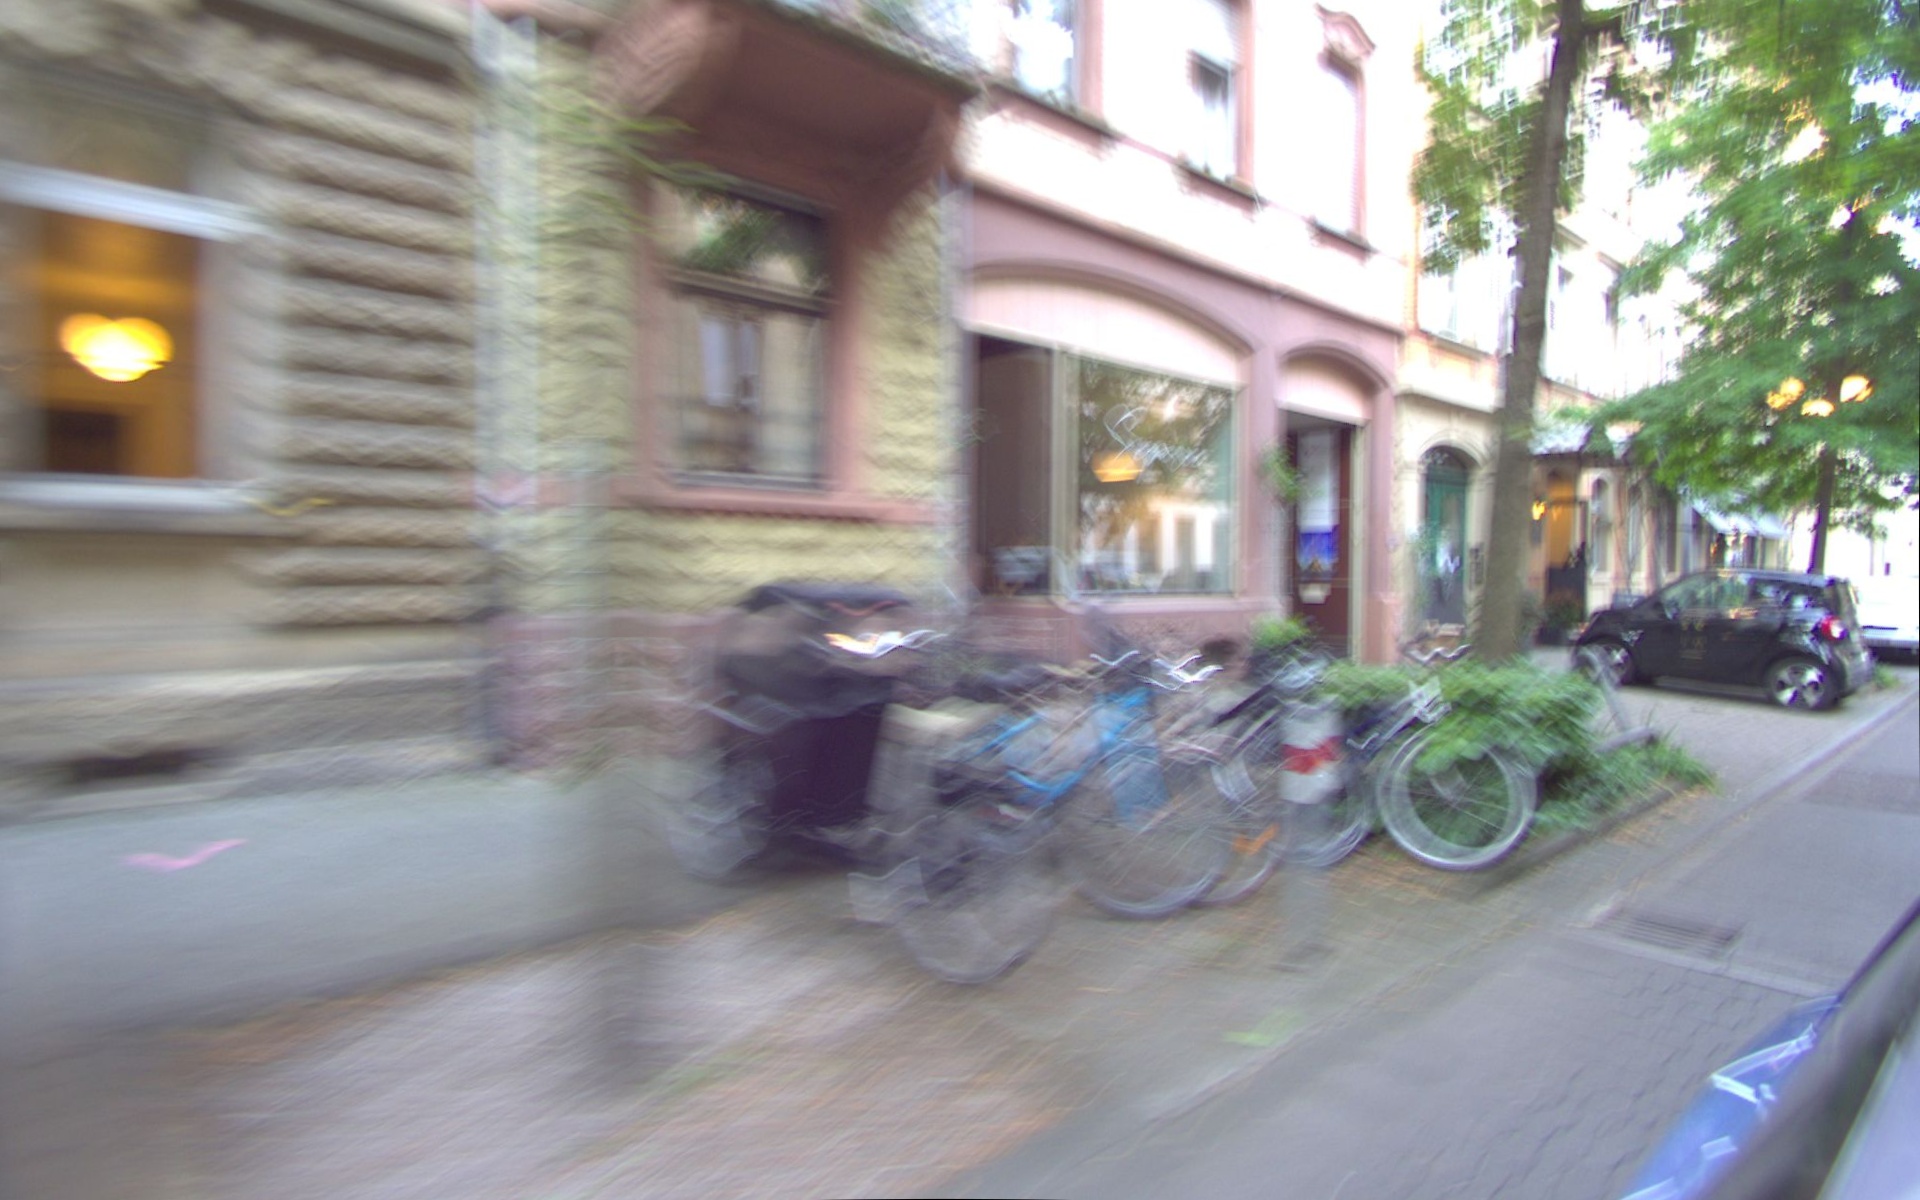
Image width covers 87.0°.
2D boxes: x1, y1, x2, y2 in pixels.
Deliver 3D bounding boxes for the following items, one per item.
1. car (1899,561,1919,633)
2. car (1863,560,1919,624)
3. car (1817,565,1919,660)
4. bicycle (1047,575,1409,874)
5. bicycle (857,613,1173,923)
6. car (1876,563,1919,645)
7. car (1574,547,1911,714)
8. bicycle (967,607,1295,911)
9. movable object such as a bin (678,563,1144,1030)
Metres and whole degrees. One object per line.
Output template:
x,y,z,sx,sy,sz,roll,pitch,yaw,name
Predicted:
22.286,-0.075,22.832,2.870,1.571,1.466,-2,3,-44,car
25.063,-0.194,25.891,1.499,1.592,2.721,-1,4,-40,car
16.576,0.154,17.774,4.033,1.509,1.736,-1,2,-41,car
1.405,0.557,5.607,0.788,1.309,1.765,-1,4,-41,bicycle
0.187,0.679,4.855,0.572,1.158,1.663,-1,2,-37,bicycle
19.860,0.047,20.547,3.070,1.580,1.593,-2,2,-43,car
9.278,0.242,12.118,1.769,1.618,2.805,-1,5,-40,car
0.779,0.676,5.106,0.572,1.213,1.701,-1,2,-37,bicycle
-0.360,0.565,4.175,0.756,1.320,2.223,-1,5,-38,movable object such as a bin
